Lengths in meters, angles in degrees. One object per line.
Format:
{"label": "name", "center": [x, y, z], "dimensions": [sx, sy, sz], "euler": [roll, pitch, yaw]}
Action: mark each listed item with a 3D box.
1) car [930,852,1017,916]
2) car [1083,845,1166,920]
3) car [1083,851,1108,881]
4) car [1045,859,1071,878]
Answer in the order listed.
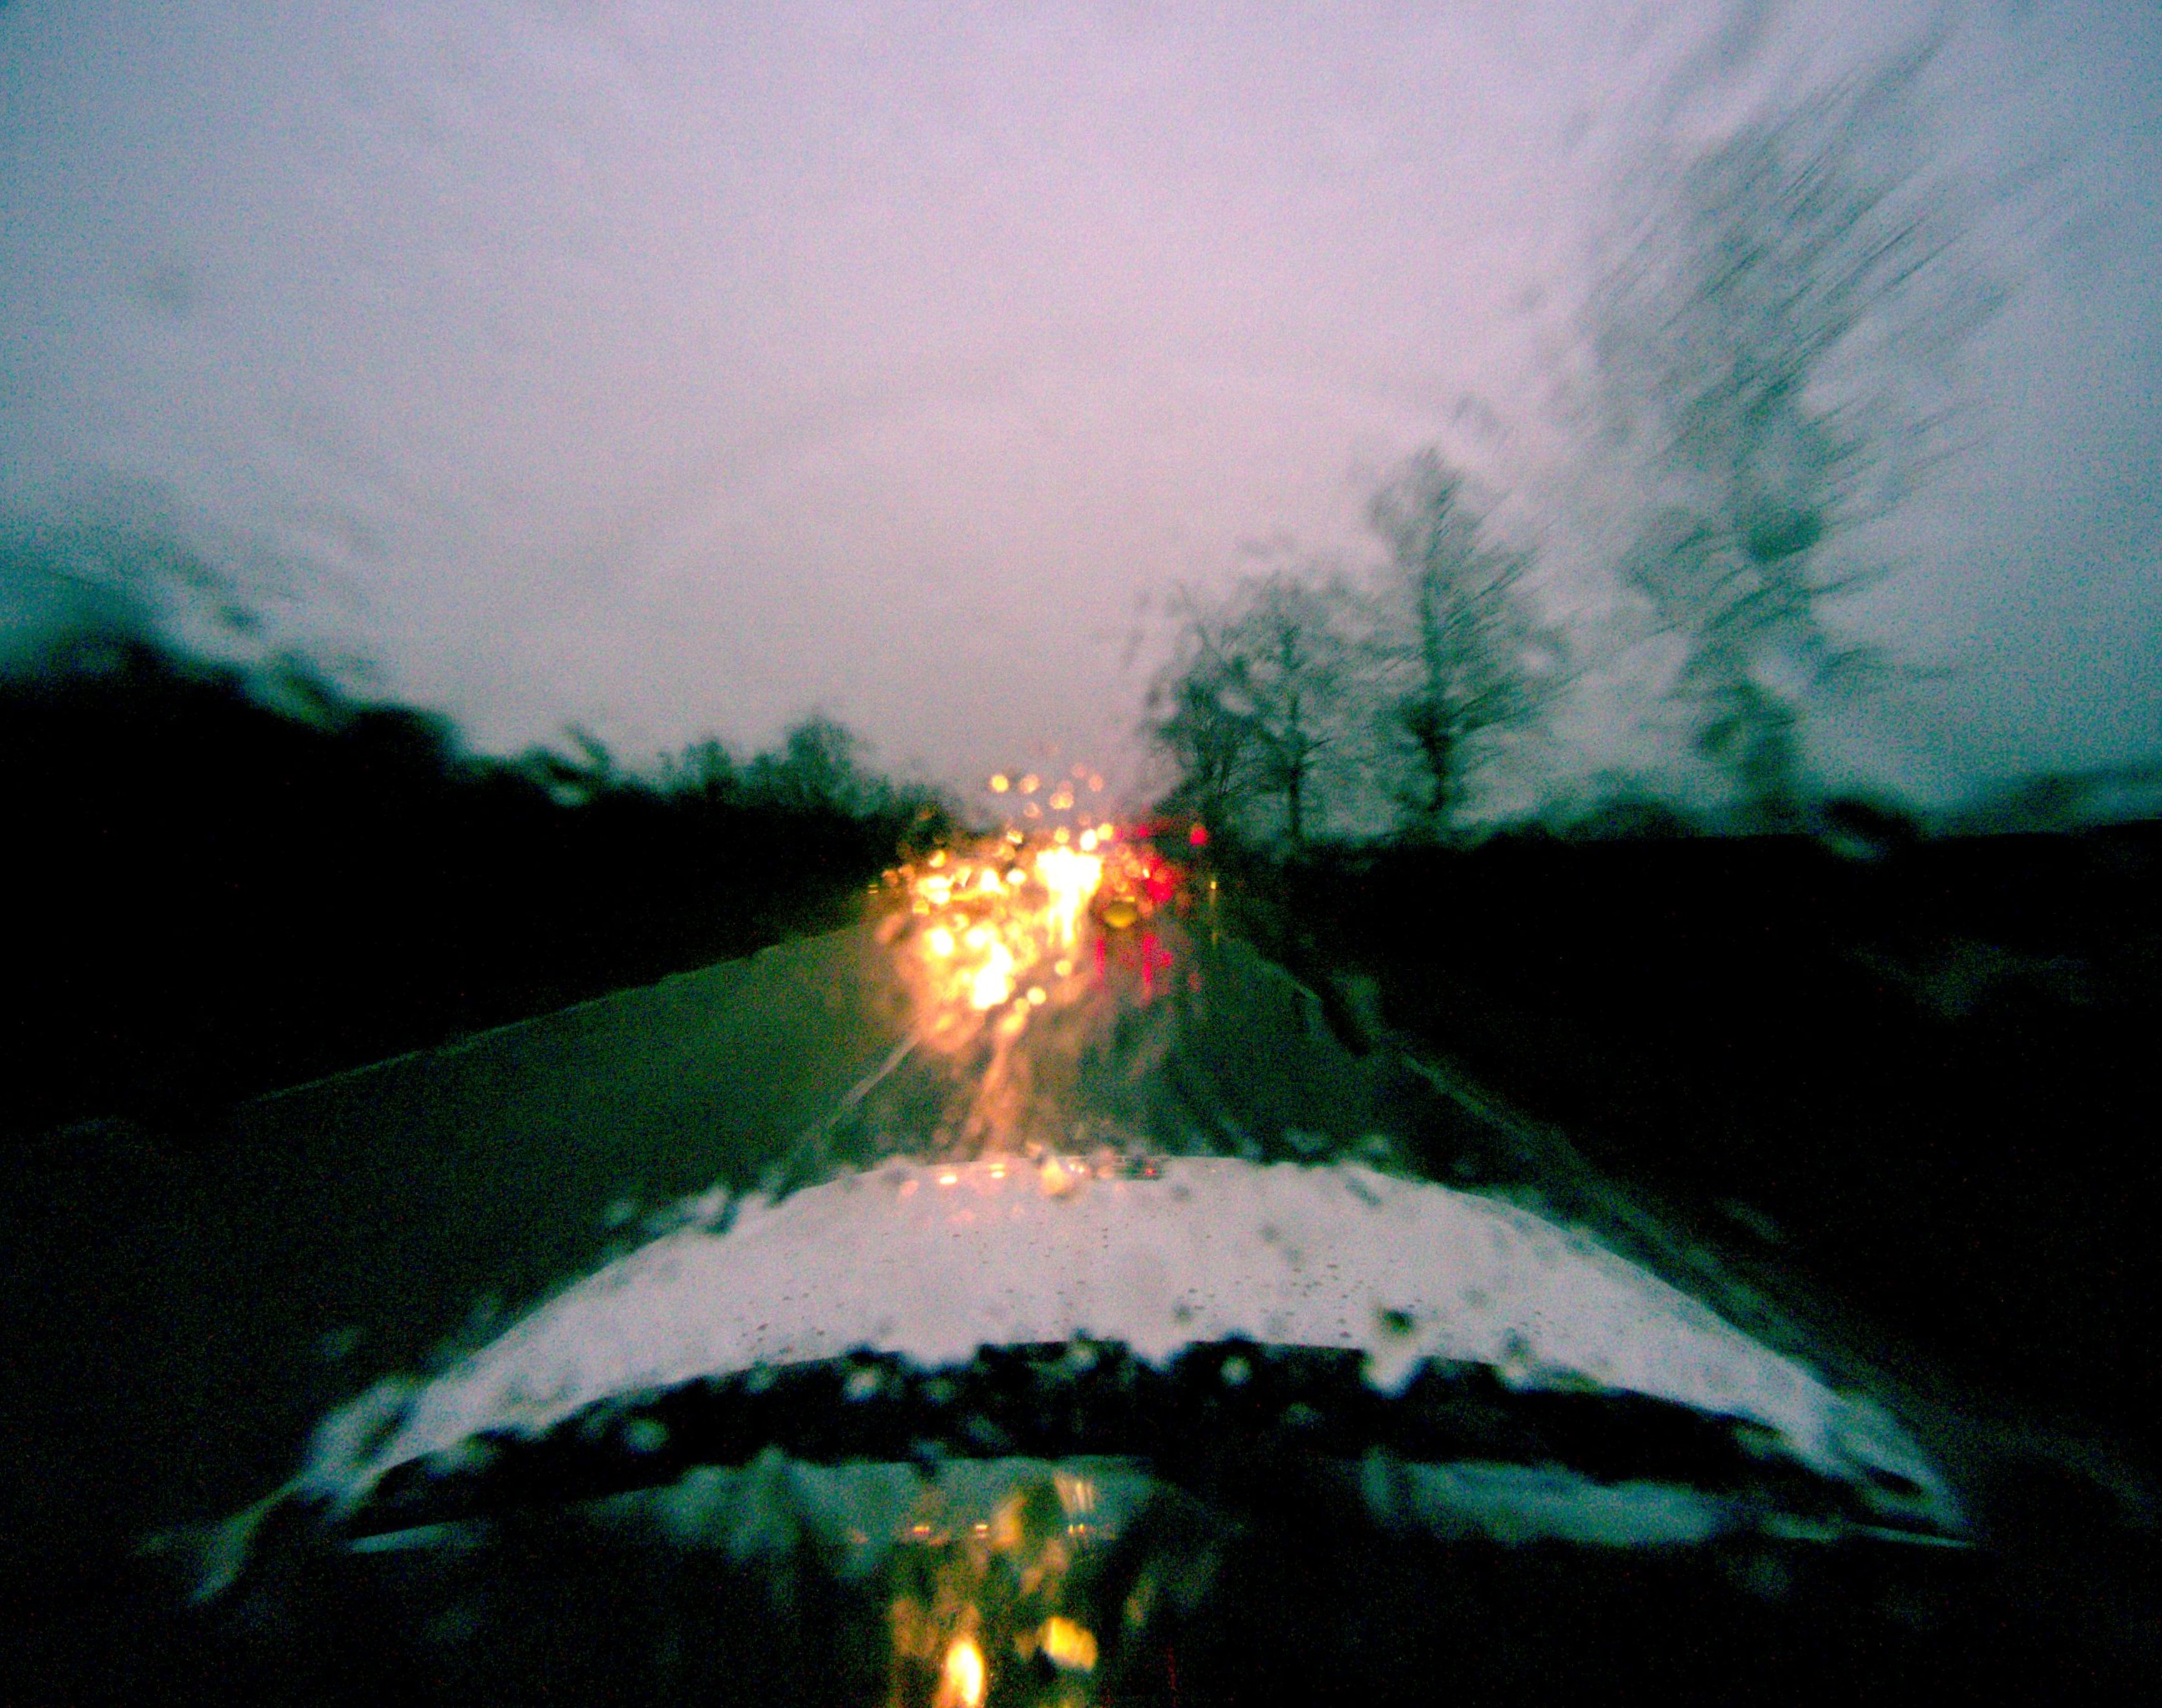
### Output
{"label": "car", "center": [-3.009, 0.804, 23.625], "dimensions": [1.916, 1.654, 4.105], "euler": [-1, 0, 1]}
{"label": "car", "center": [1.143, 0.678, 21.341], "dimensions": [1.985, 1.784, 4.003], "euler": [0, 0, 3]}
{"label": "car", "center": [0.932, 0.755, 52.240], "dimensions": [1.569, 1.875, 3.710], "euler": [0, 0, 1]}
{"label": "car", "center": [-1.784, 1.090, 63.354], "dimensions": [1.811, 1.441, 3.456], "euler": [0, 0, 1]}
